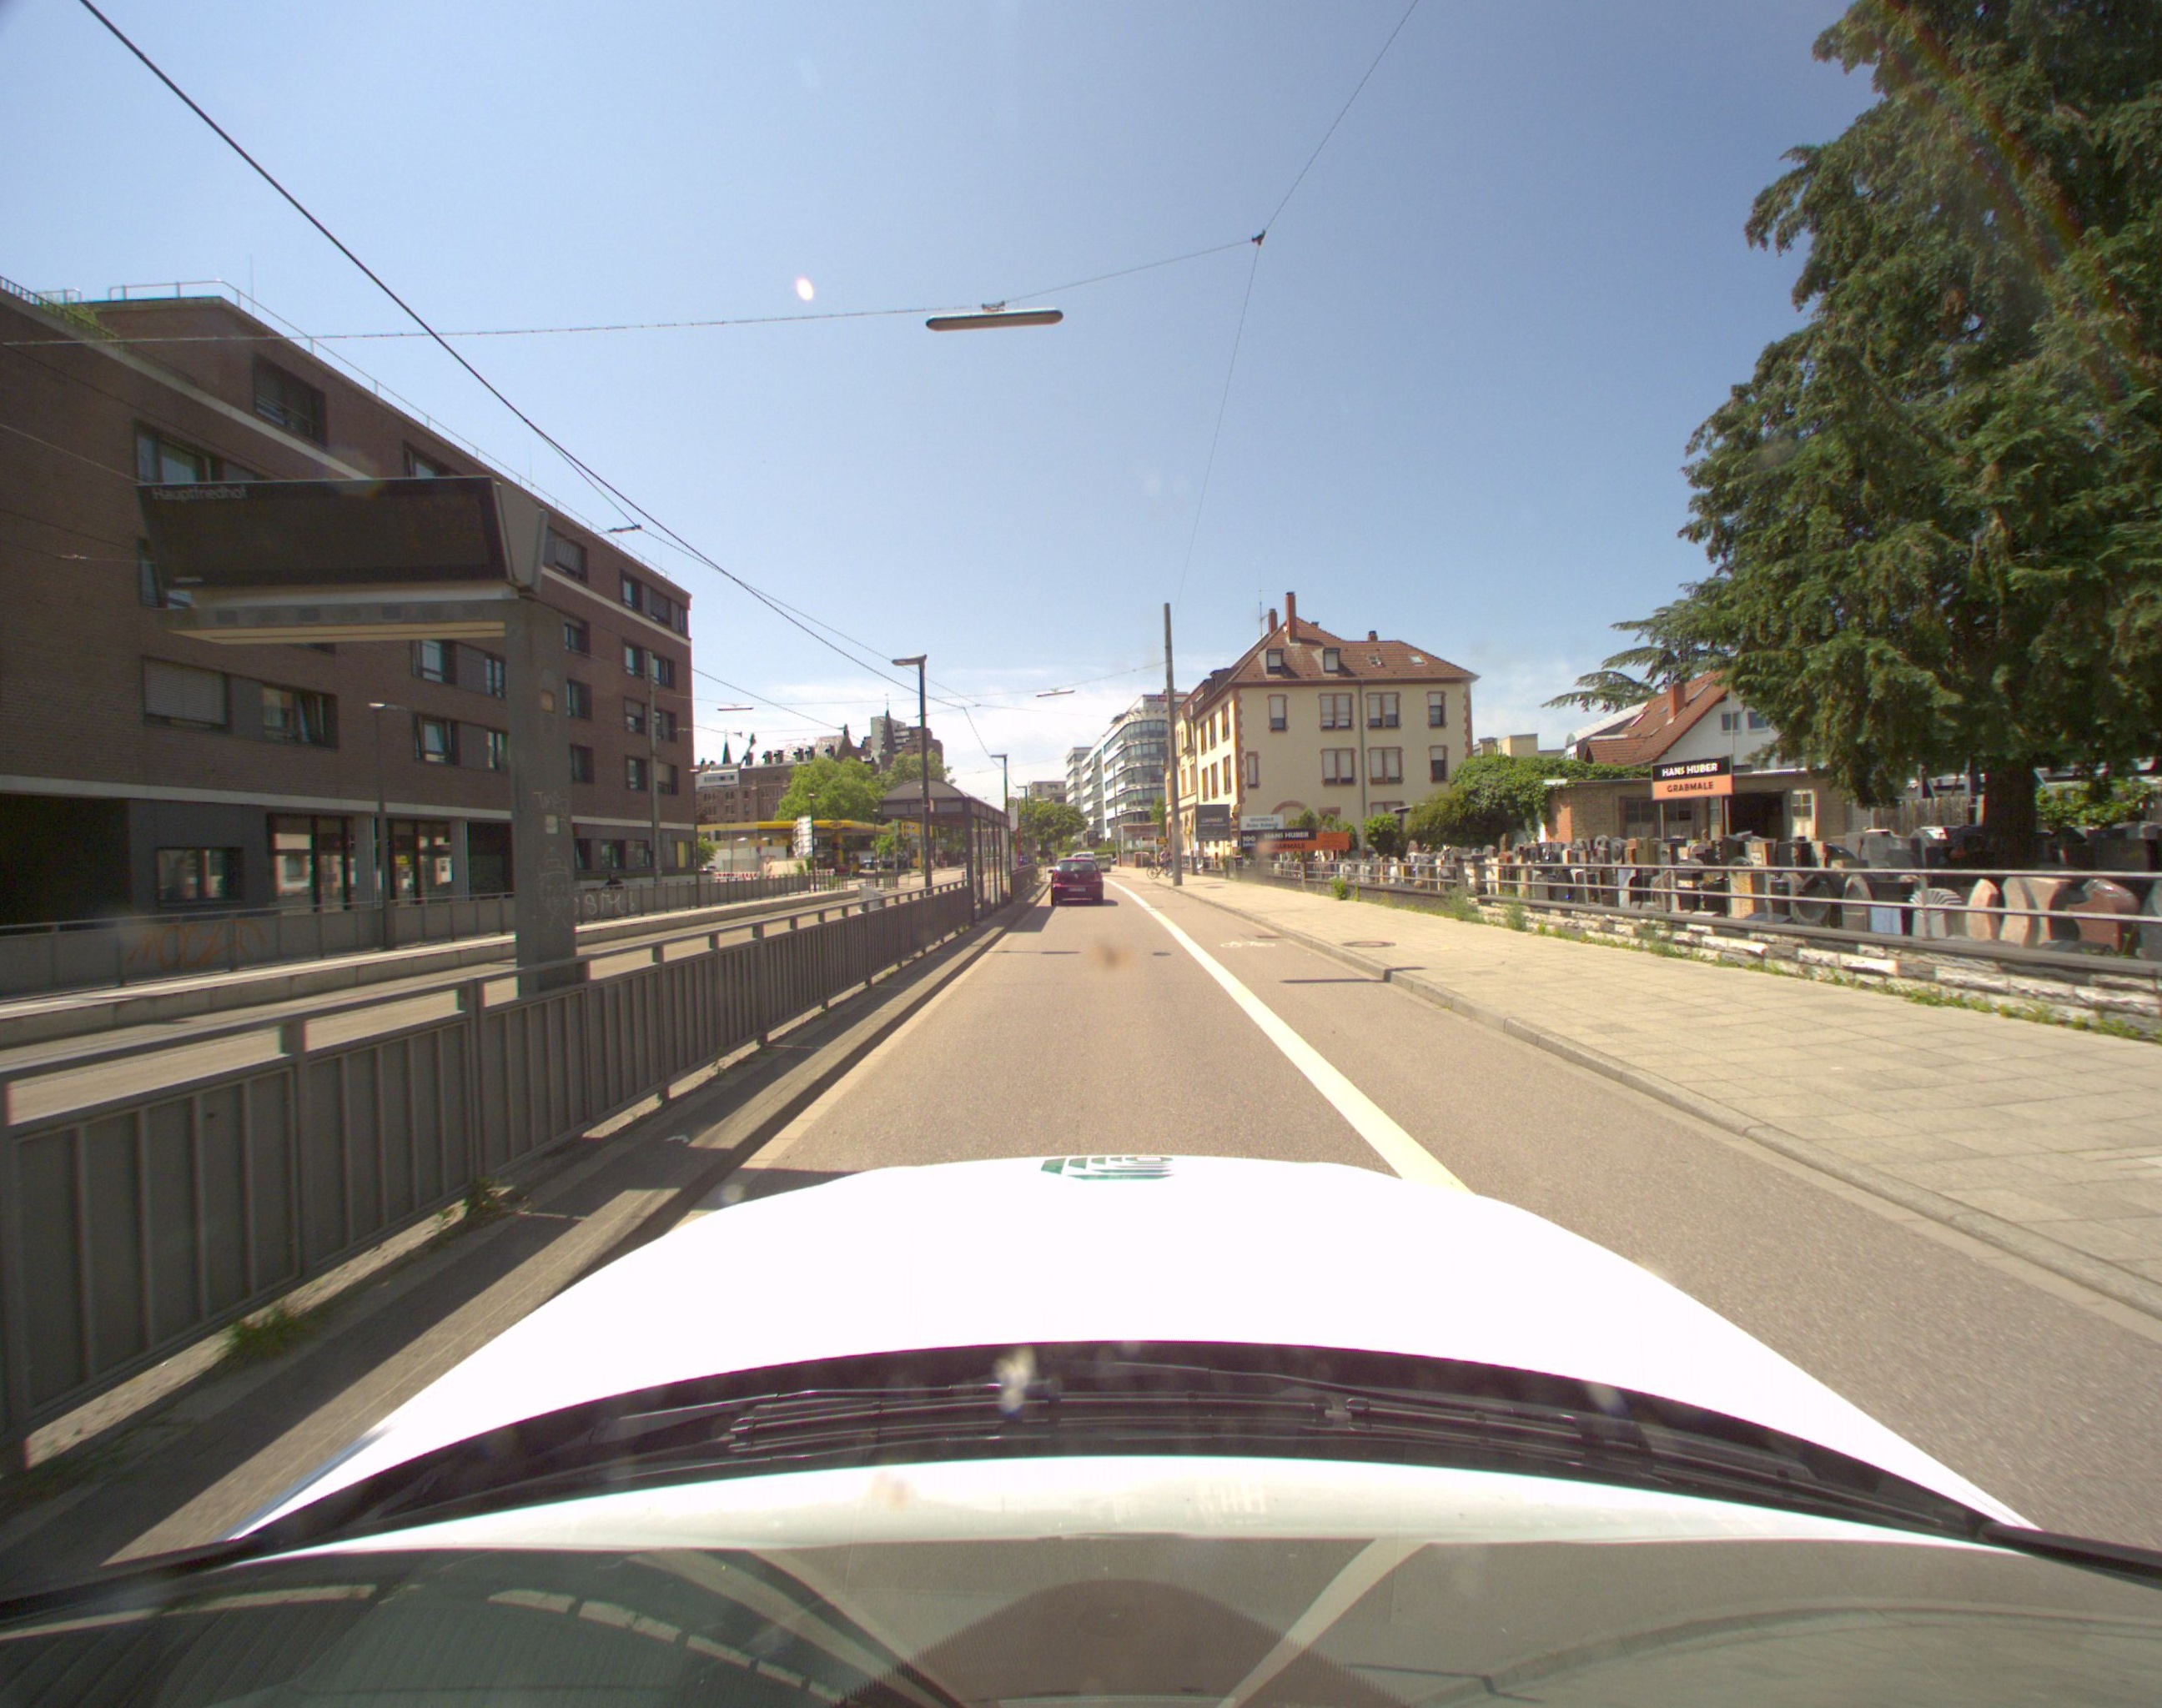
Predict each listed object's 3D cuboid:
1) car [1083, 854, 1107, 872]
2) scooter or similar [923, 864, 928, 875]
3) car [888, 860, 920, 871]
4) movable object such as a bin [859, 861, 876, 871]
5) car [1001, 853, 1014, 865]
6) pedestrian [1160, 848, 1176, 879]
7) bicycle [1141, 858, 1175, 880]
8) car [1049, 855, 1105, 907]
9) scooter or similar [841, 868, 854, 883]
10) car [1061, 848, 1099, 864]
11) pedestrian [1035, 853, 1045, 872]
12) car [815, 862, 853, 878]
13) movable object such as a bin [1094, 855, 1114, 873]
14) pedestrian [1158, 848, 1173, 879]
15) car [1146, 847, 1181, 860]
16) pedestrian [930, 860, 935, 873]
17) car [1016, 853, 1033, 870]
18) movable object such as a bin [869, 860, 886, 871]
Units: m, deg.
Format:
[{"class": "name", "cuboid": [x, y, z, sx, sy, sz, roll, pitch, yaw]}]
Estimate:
[{"class": "car", "cuboid": [1.339, 0.870, 79.842, 1.770, 1.548, 4.458, -4, 0, -6]}, {"class": "scooter or similar", "cuboid": [-18.138, 1.774, 94.790, 0.518, 1.200, 1.372, -1, 0, -9]}, {"class": "car", "cuboid": [-26.185, 1.692, 120.617, 1.910, 1.488, 4.479, -1, 0, 33]}, {"class": "movable object such as a bin", "cuboid": [-31.456, 1.813, 120.180, 1.509, 1.432, 2.109, -1, 0, 18]}, {"class": "car", "cuboid": [-12.158, 0.832, 134.712, 1.991, 1.739, 3.991, -3, 0, -6]}, {"class": "pedestrian", "cuboid": [4.936, 0.536, 46.425, 0.819, 1.691, 0.590, -2, 0, 8]}, {"class": "bicycle", "cuboid": [4.483, 0.885, 47.374, 1.786, 1.127, 0.593, -4, 0, 21]}, {"class": "car", "cuboid": [-0.068, 0.796, 26.049, 1.613, 1.486, 4.001, -1, 0, 1]}, {"class": "scooter or similar", "cuboid": [-20.139, 1.850, 70.251, 0.342, 1.264, 1.248, -1, 0, 18]}, {"class": "car", "cuboid": [-0.110, 0.205, 101.549, 4.534, 1.799, 1.995, -2, 0, -7]}, {"class": "pedestrian", "cuboid": [-4.295, 0.868, 84.935, 0.783, 1.960, 0.585, -2, 0, -22]}, {"class": "car", "cuboid": [-26.726, 1.680, 88.187, 1.811, 1.504, 4.218, 0, 1, 17]}, {"class": "movable object such as a bin", "cuboid": [1.896, 0.843, 68.434, 1.392, 1.455, 1.135, -4, 0, -10]}, {"class": "pedestrian", "cuboid": [4.933, 0.560, 47.687, 0.681, 1.772, 0.506, -2, 0, 22]}, {"class": "car", "cuboid": [10.480, -0.046, 103.235, 4.139, 1.459, 1.816, -3, 0, -3]}, {"class": "pedestrian", "cuboid": [-19.589, 1.593, 107.230, 0.625, 1.691, 0.719, -2, 0, -12]}, {"class": "car", "cuboid": [-7.277, 0.941, 104.255, 1.992, 2.013, 3.990, -1, 0, -7]}, {"class": "movable object such as a bin", "cuboid": [-29.943, 1.730, 119.659, 1.509, 1.509, 2.109, -1, 0, 18]}]
